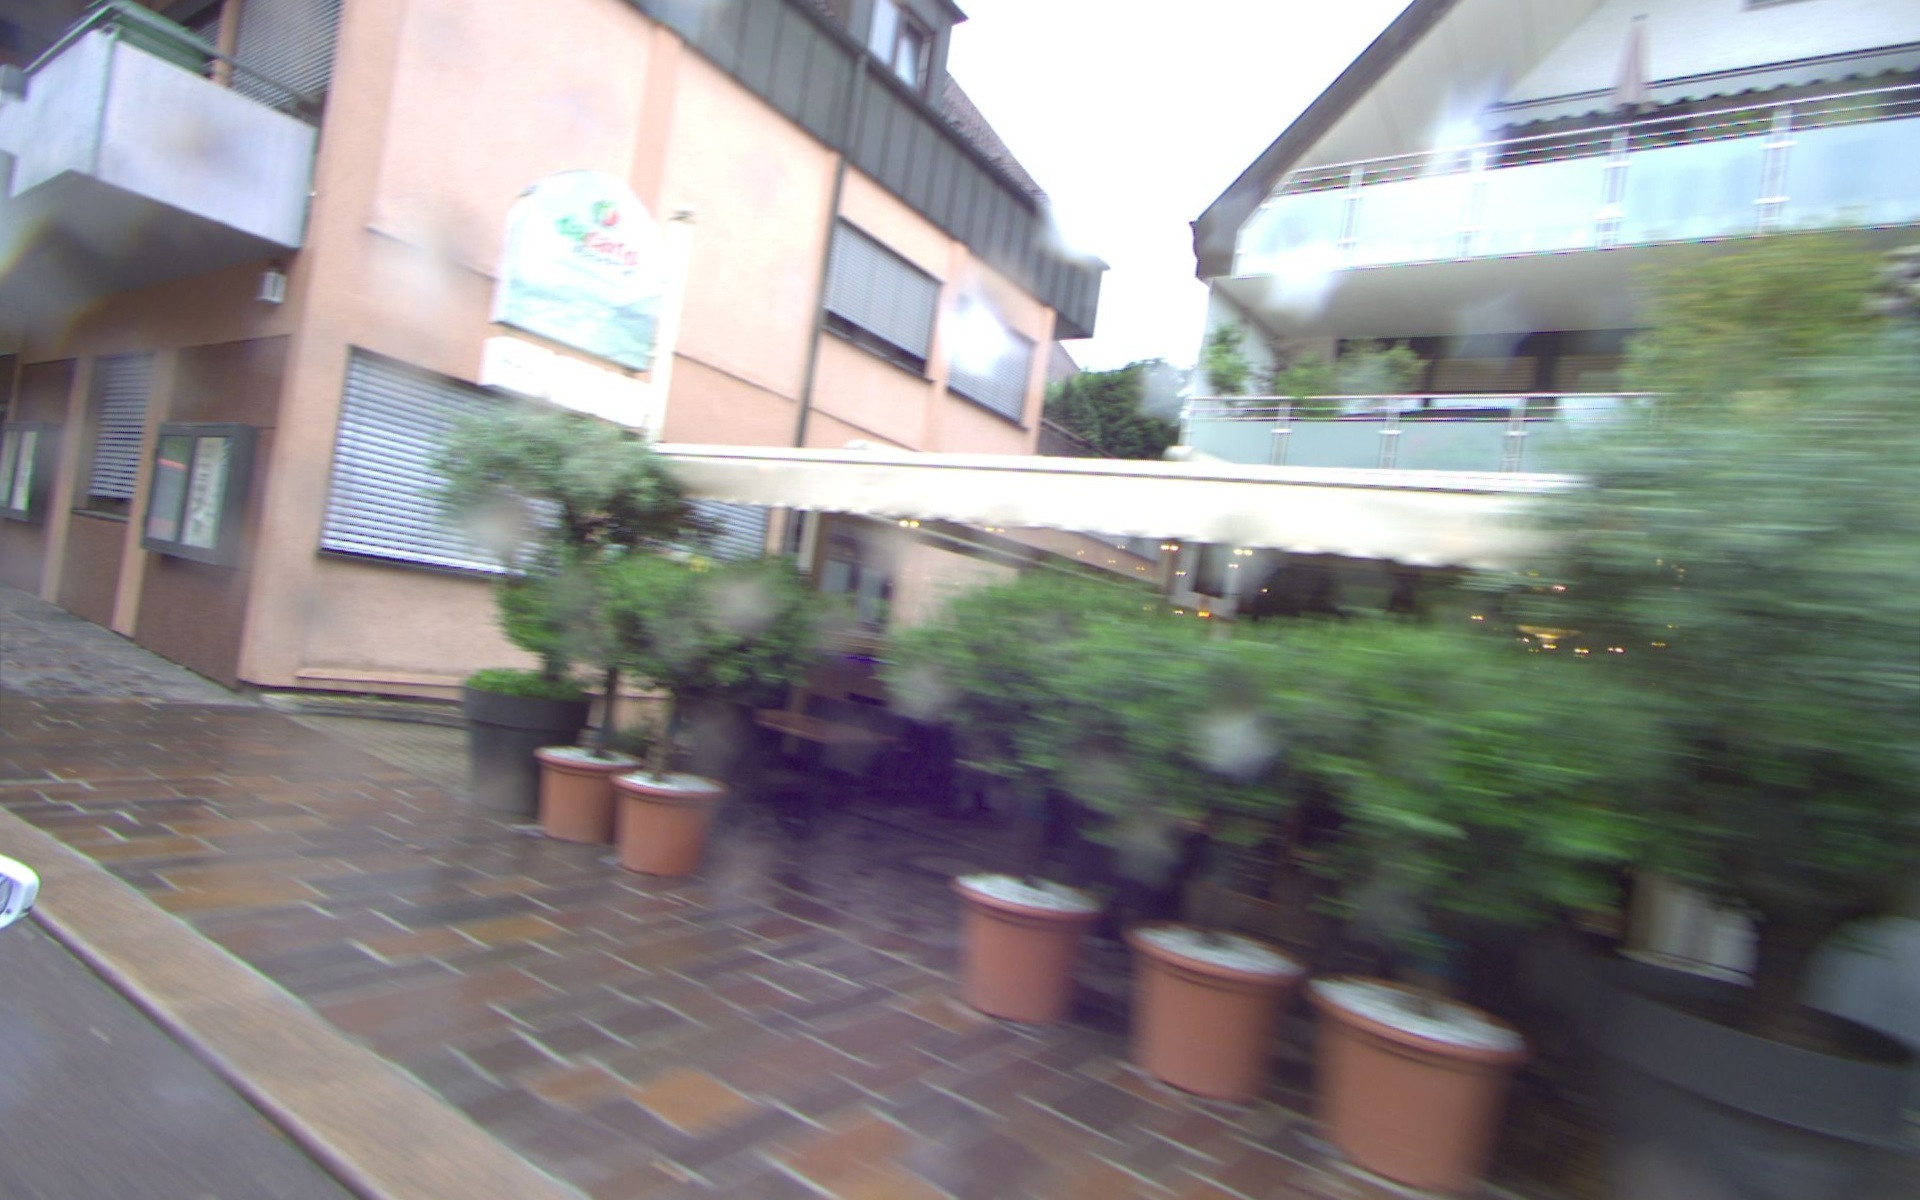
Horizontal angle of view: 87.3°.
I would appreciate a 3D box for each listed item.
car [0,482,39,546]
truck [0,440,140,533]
[{"bbox_3d":[-22.453,-2.126,22.572,4.403,1.290,1.764,7,-2,37],"label":"car"},{"bbox_3d":[-21.980,-2.810,24.703,3.938,1.829,1.764,7,-1,36],"label":"truck"}]
